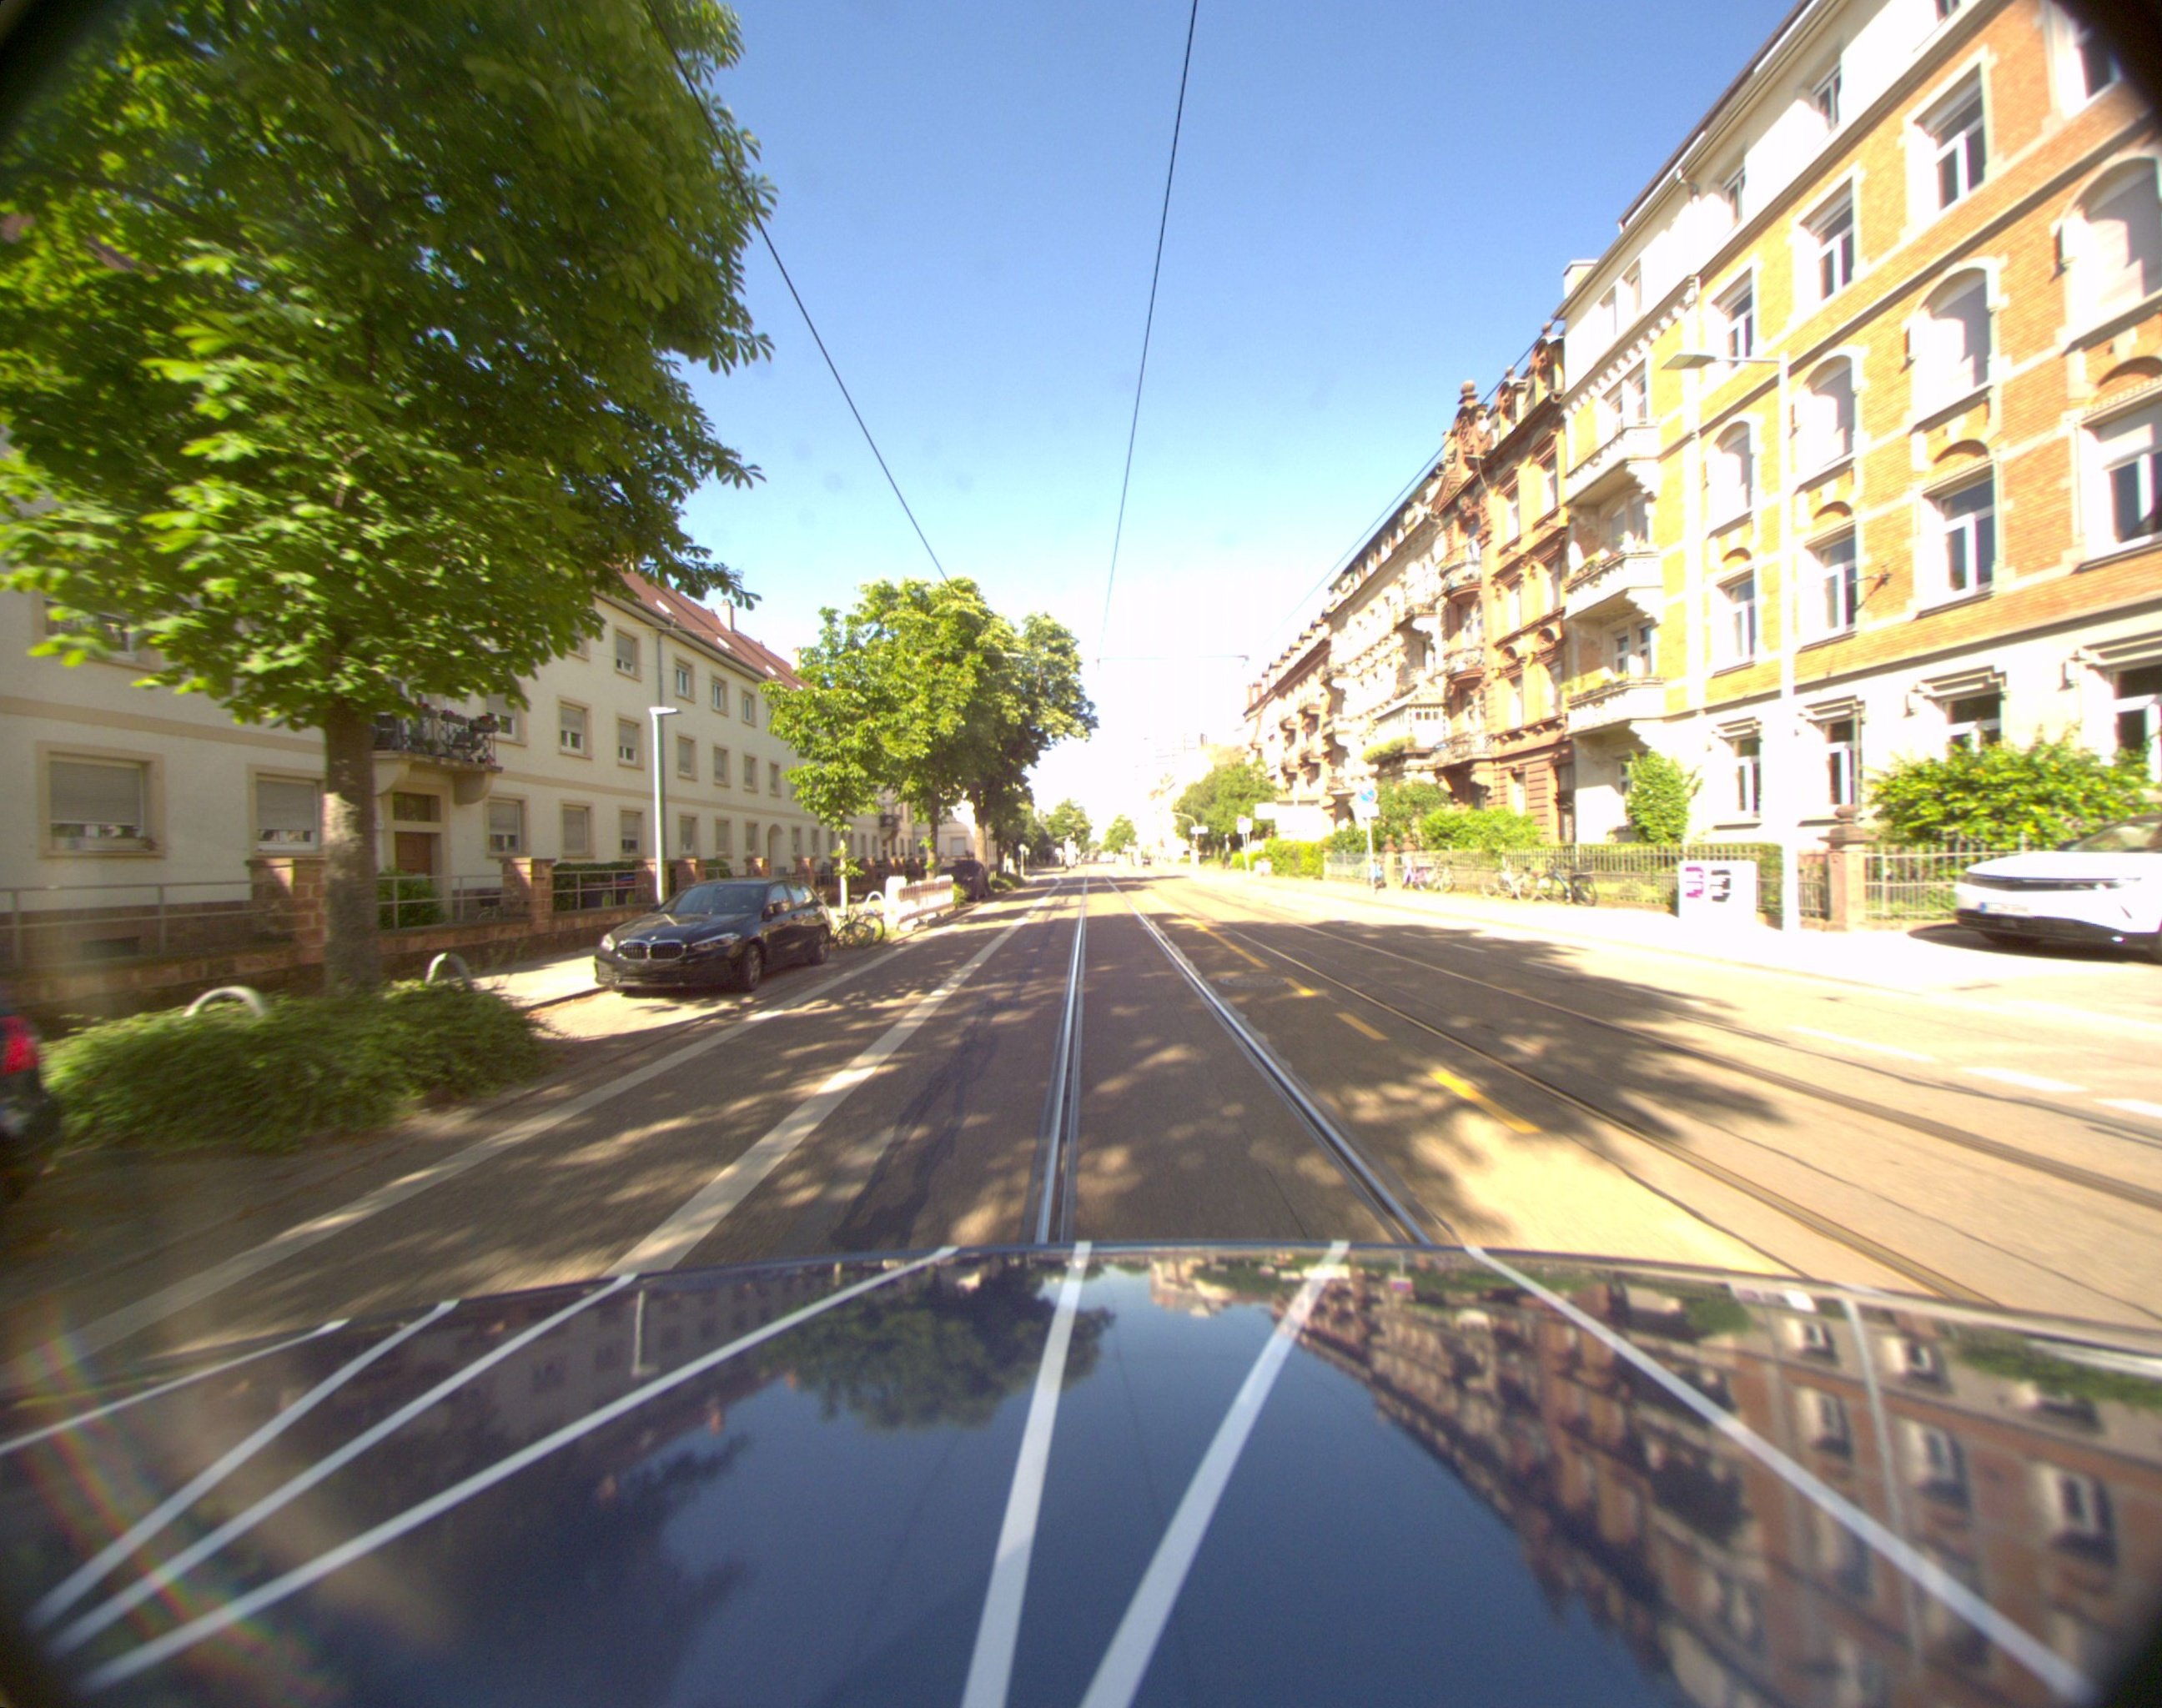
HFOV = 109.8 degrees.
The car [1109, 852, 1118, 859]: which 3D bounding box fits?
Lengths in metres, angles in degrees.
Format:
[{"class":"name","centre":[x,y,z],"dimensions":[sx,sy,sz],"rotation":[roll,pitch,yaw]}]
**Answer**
[{"class":"car","centre":[7.817,0.413,183.773],"dimensions":[1.902,1.608,4.264],"rotation":[-1,1,-1]}]

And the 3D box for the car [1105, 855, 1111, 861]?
[{"class":"car","centre":[7.901,1.175,223.755],"dimensions":[1.694,1.531,3.799],"rotation":[-4,0,4]}]

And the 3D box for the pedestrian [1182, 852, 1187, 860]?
[{"class":"pedestrian","centre":[16.638,0.258,121.758],"dimensions":[0.659,1.274,0.724],"rotation":[-4,1,1]}]

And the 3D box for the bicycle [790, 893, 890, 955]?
[{"class":"bicycle","centre":[-4.725,1.372,14.956],"dimensions":[1.766,1.071,0.433],"rotation":[-4,1,2]}]

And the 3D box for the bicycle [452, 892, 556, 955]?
[{"class":"bicycle","centre":[-11.321,1.331,14.983],"dimensions":[0.560,1.047,1.871],"rotation":[-2,0,1]}]

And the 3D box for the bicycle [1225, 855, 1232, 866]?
[{"class":"bicycle","centre":[12.759,0.559,65.529],"dimensions":[0.342,0.920,1.943],"rotation":[-4,0,5]}]

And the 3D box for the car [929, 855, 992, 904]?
[{"class":"car","centre":[-4.808,0.965,30.902],"dimensions":[1.748,1.755,4.477],"rotation":[-3,0,0]}]

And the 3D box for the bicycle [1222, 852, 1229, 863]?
[{"class":"bicycle","centre":[13.254,0.314,69.708],"dimensions":[0.342,0.920,1.943],"rotation":[-4,0,5]}]

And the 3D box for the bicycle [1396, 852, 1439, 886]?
[{"class":"bicycle","centre":[10.999,0.468,24.875],"dimensions":[0.564,1.027,1.767],"rotation":[-4,0,0]}]

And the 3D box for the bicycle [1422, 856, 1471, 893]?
[{"class":"bicycle","centre":[11.024,0.598,22.991],"dimensions":[0.564,1.027,1.767],"rotation":[-4,0,0]}]

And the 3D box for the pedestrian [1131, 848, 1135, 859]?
[{"class":"pedestrian","centre":[7.853,-0.075,115.100],"dimensions":[0.466,1.774,0.673],"rotation":[-2,1,0]}]

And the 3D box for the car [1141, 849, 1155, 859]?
[{"class":"car","centre":[11.038,-0.070,126.127],"dimensions":[1.836,1.509,4.967],"rotation":[-4,0,1]}]

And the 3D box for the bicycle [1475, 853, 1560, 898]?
[{"class":"bicycle","centre":[10.922,0.557,19.076],"dimensions":[0.565,1.027,1.764],"rotation":[-7,0,-24]}]

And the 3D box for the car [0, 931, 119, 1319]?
[{"class":"car","centre":[-5.031,1.085,1.158],"dimensions":[1.724,1.465,4.245],"rotation":[-1,0,-1]}]

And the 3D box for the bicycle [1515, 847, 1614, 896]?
[{"class":"bicycle","centre":[10.941,0.423,17.247],"dimensions":[0.566,1.027,1.763],"rotation":[-3,-1,-36]}]

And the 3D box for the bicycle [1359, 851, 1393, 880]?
[{"class":"bicycle","centre":[11.112,0.434,28.662],"dimensions":[0.564,1.027,1.768],"rotation":[-4,-1,1]}]

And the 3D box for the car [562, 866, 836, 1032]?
[{"class":"car","centre":[-5.014,1.110,10.740],"dimensions":[1.670,1.750,4.231],"rotation":[-2,0,0]}]

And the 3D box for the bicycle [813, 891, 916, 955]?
[{"class":"bicycle","centre":[-4.111,1.302,14.458],"dimensions":[1.766,1.071,0.433],"rotation":[-4,1,2]}]

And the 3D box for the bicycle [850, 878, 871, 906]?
[{"class":"bicycle","centre":[-10.150,1.734,35.036],"dimensions":[0.448,1.231,1.675],"rotation":[-1,0,-1]}]

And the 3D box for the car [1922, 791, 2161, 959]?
[{"class":"car","centre":[12.776,0.089,8.456],"dimensions":[4.456,1.634,1.967],"rotation":[-4,1,3]}]
